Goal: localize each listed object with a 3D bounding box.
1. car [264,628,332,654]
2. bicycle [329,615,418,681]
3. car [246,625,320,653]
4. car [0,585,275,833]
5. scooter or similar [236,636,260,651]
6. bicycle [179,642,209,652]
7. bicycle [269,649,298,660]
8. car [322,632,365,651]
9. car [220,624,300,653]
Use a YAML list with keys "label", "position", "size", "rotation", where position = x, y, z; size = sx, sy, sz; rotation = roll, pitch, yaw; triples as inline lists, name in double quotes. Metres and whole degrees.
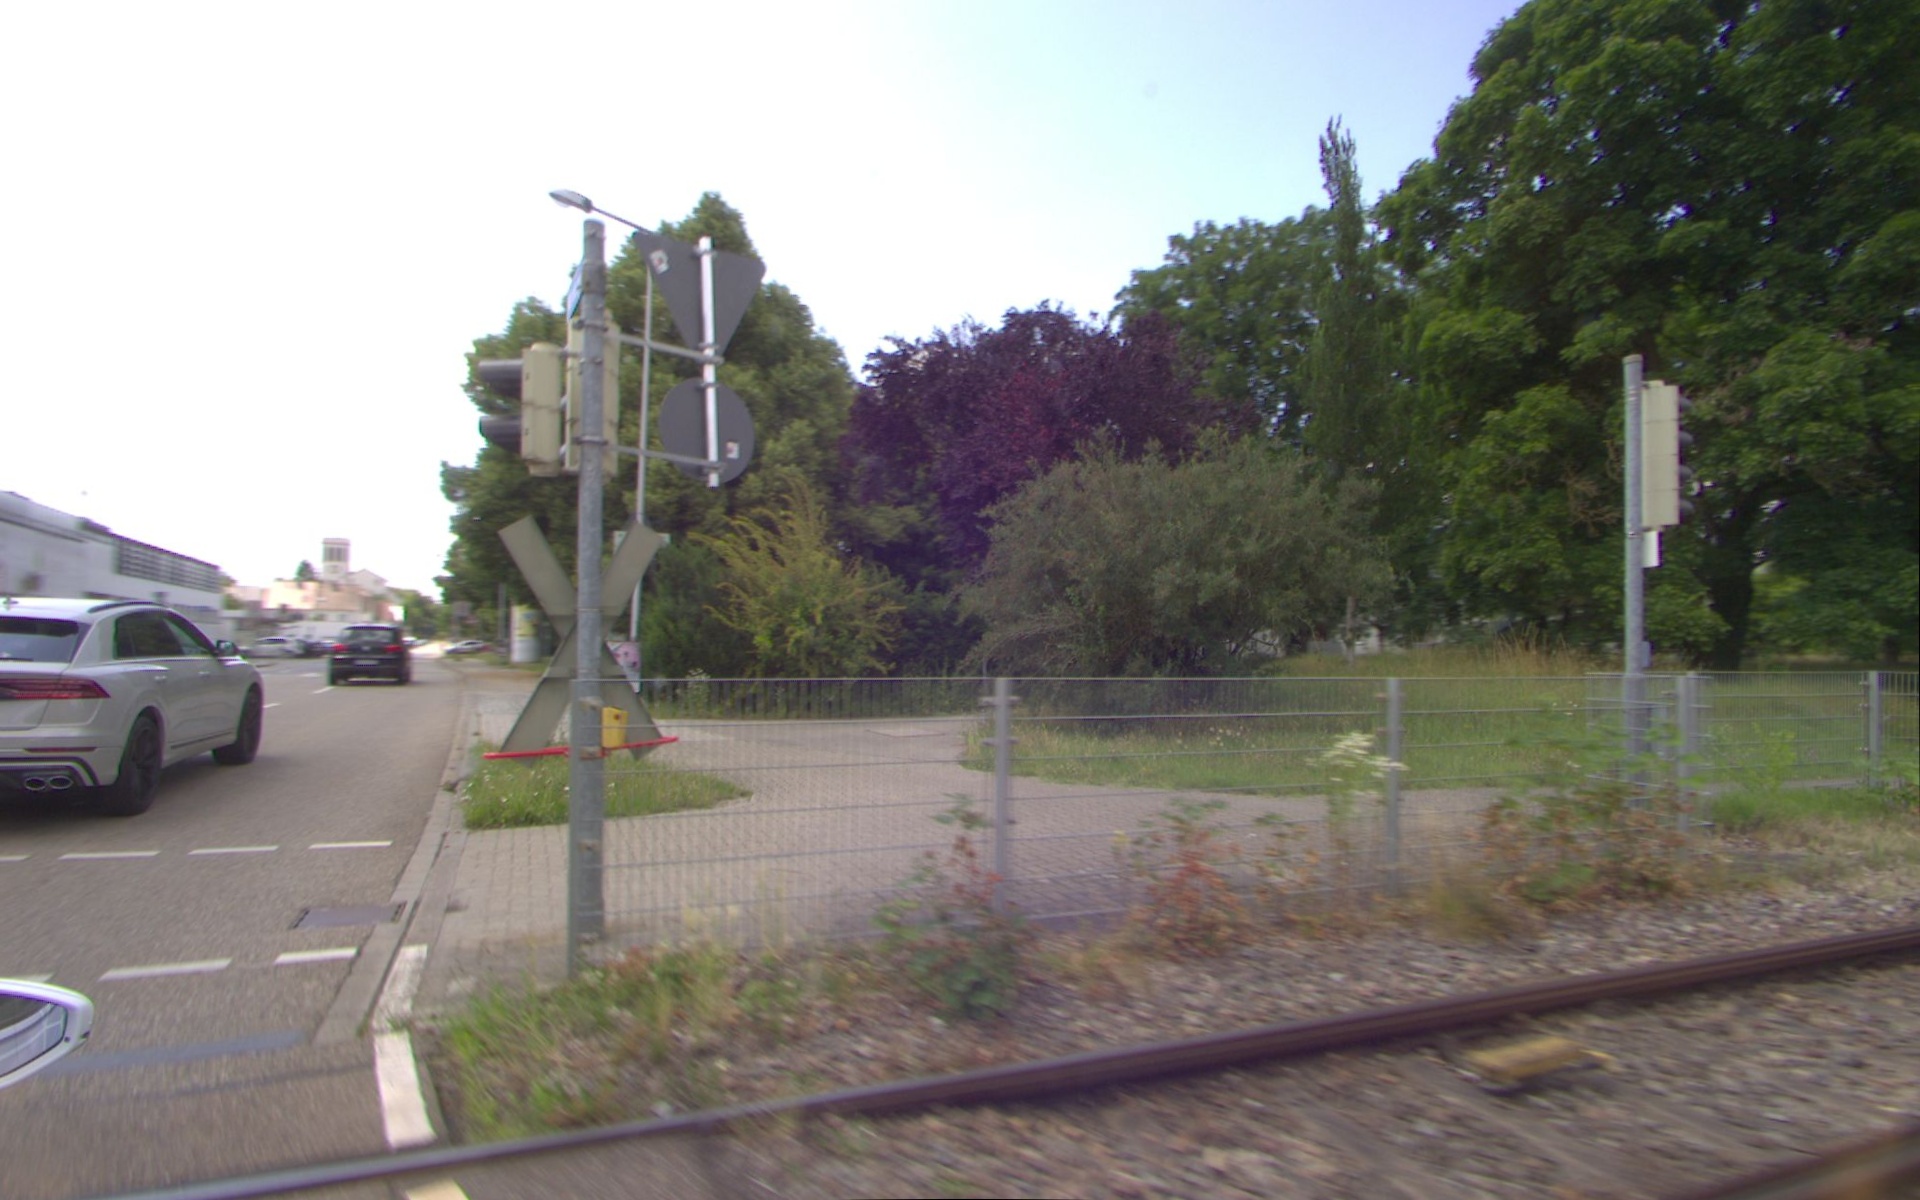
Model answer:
- label: "car"
  position: [-54.276, 3.378, 82.230]
  size: [4.585, 2.038, 1.989]
  rotation: [2, -4, -33]
- label: "bicycle"
  position: [-16.399, 1.335, 28.002]
  size: [1.972, 1.696, 4.186]
  rotation: [2, -3, -31]
- label: "car"
  position: [-51.767, 3.027, 76.687]
  size: [4.585, 2.038, 1.989]
  rotation: [2, -4, -33]
- label: "car"
  position: [-7.858, 0.802, 8.859]
  size: [1.956, 1.705, 4.562]
  rotation: [3, -3, -22]
- label: "scooter or similar"
  position: [-49.137, 3.023, 69.073]
  size: [1.968, 1.008, 0.621]
  rotation: [-2, -4, 32]
- label: "bicycle"
  position: [-57.944, 3.563, 75.770]
  size: [0.563, 0.767, 1.665]
  rotation: [-1, -4, 36]
- label: "bicycle"
  position: [-47.149, 3.790, 69.815]
  size: [1.653, 0.767, 0.567]
  rotation: [4, -4, -33]
- label: "car"
  position: [-66.644, 4.485, 108.245]
  size: [3.947, 2.039, 1.988]
  rotation: [2, -2, -33]
- label: "car"
  position: [-50.629, 2.825, 72.545]
  size: [4.585, 2.038, 1.989]
  rotation: [2, -4, -33]
